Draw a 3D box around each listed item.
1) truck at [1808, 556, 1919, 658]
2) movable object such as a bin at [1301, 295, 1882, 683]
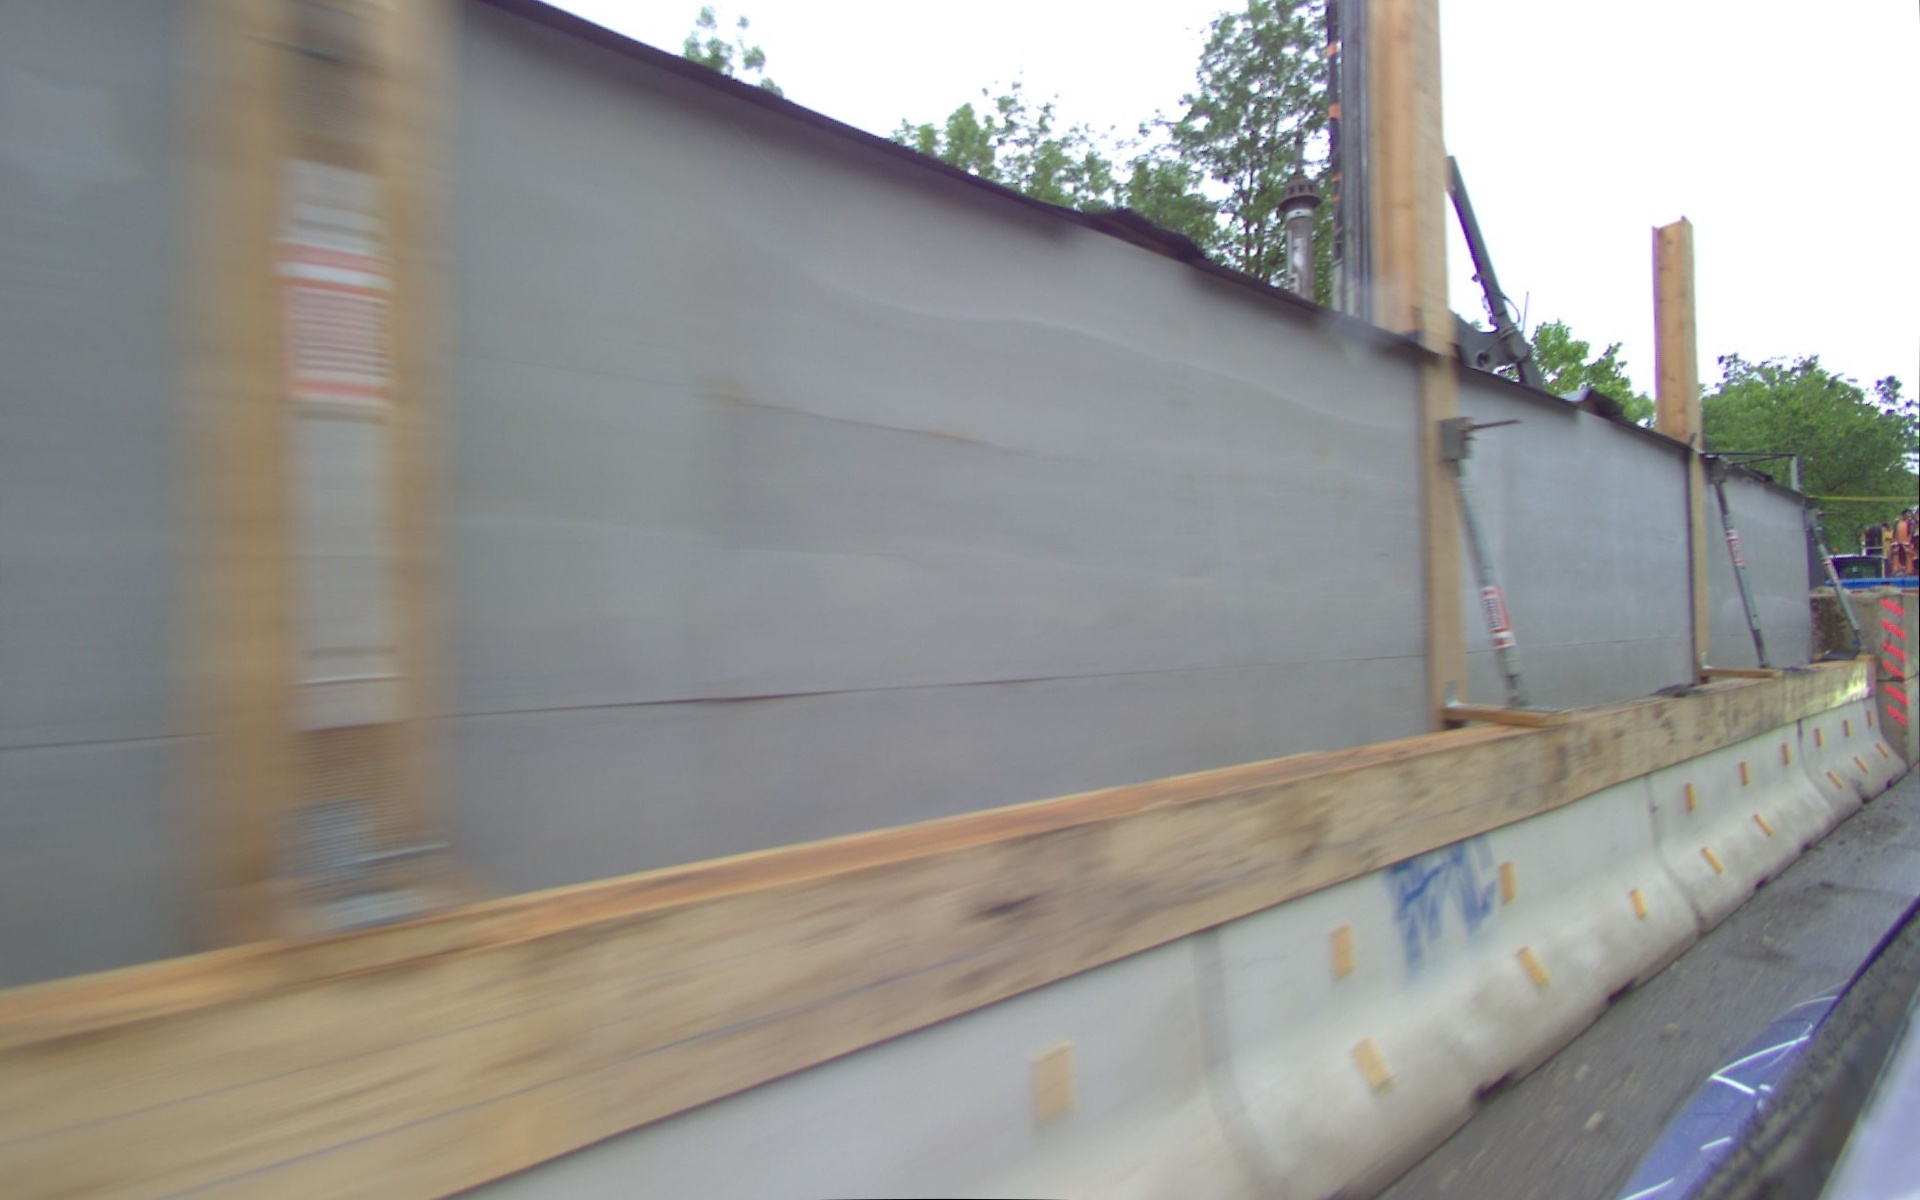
[{"bbox_3d":[20.939,0.138,22.604,3.247,2.135,2.554,-1,-1,-41],"label":"truck"},{"bbox_3d":[9.616,-1.532,15.908,7.013,5.131,3.701,-1,-1,-12],"label":"movable object such as a bin"}]
